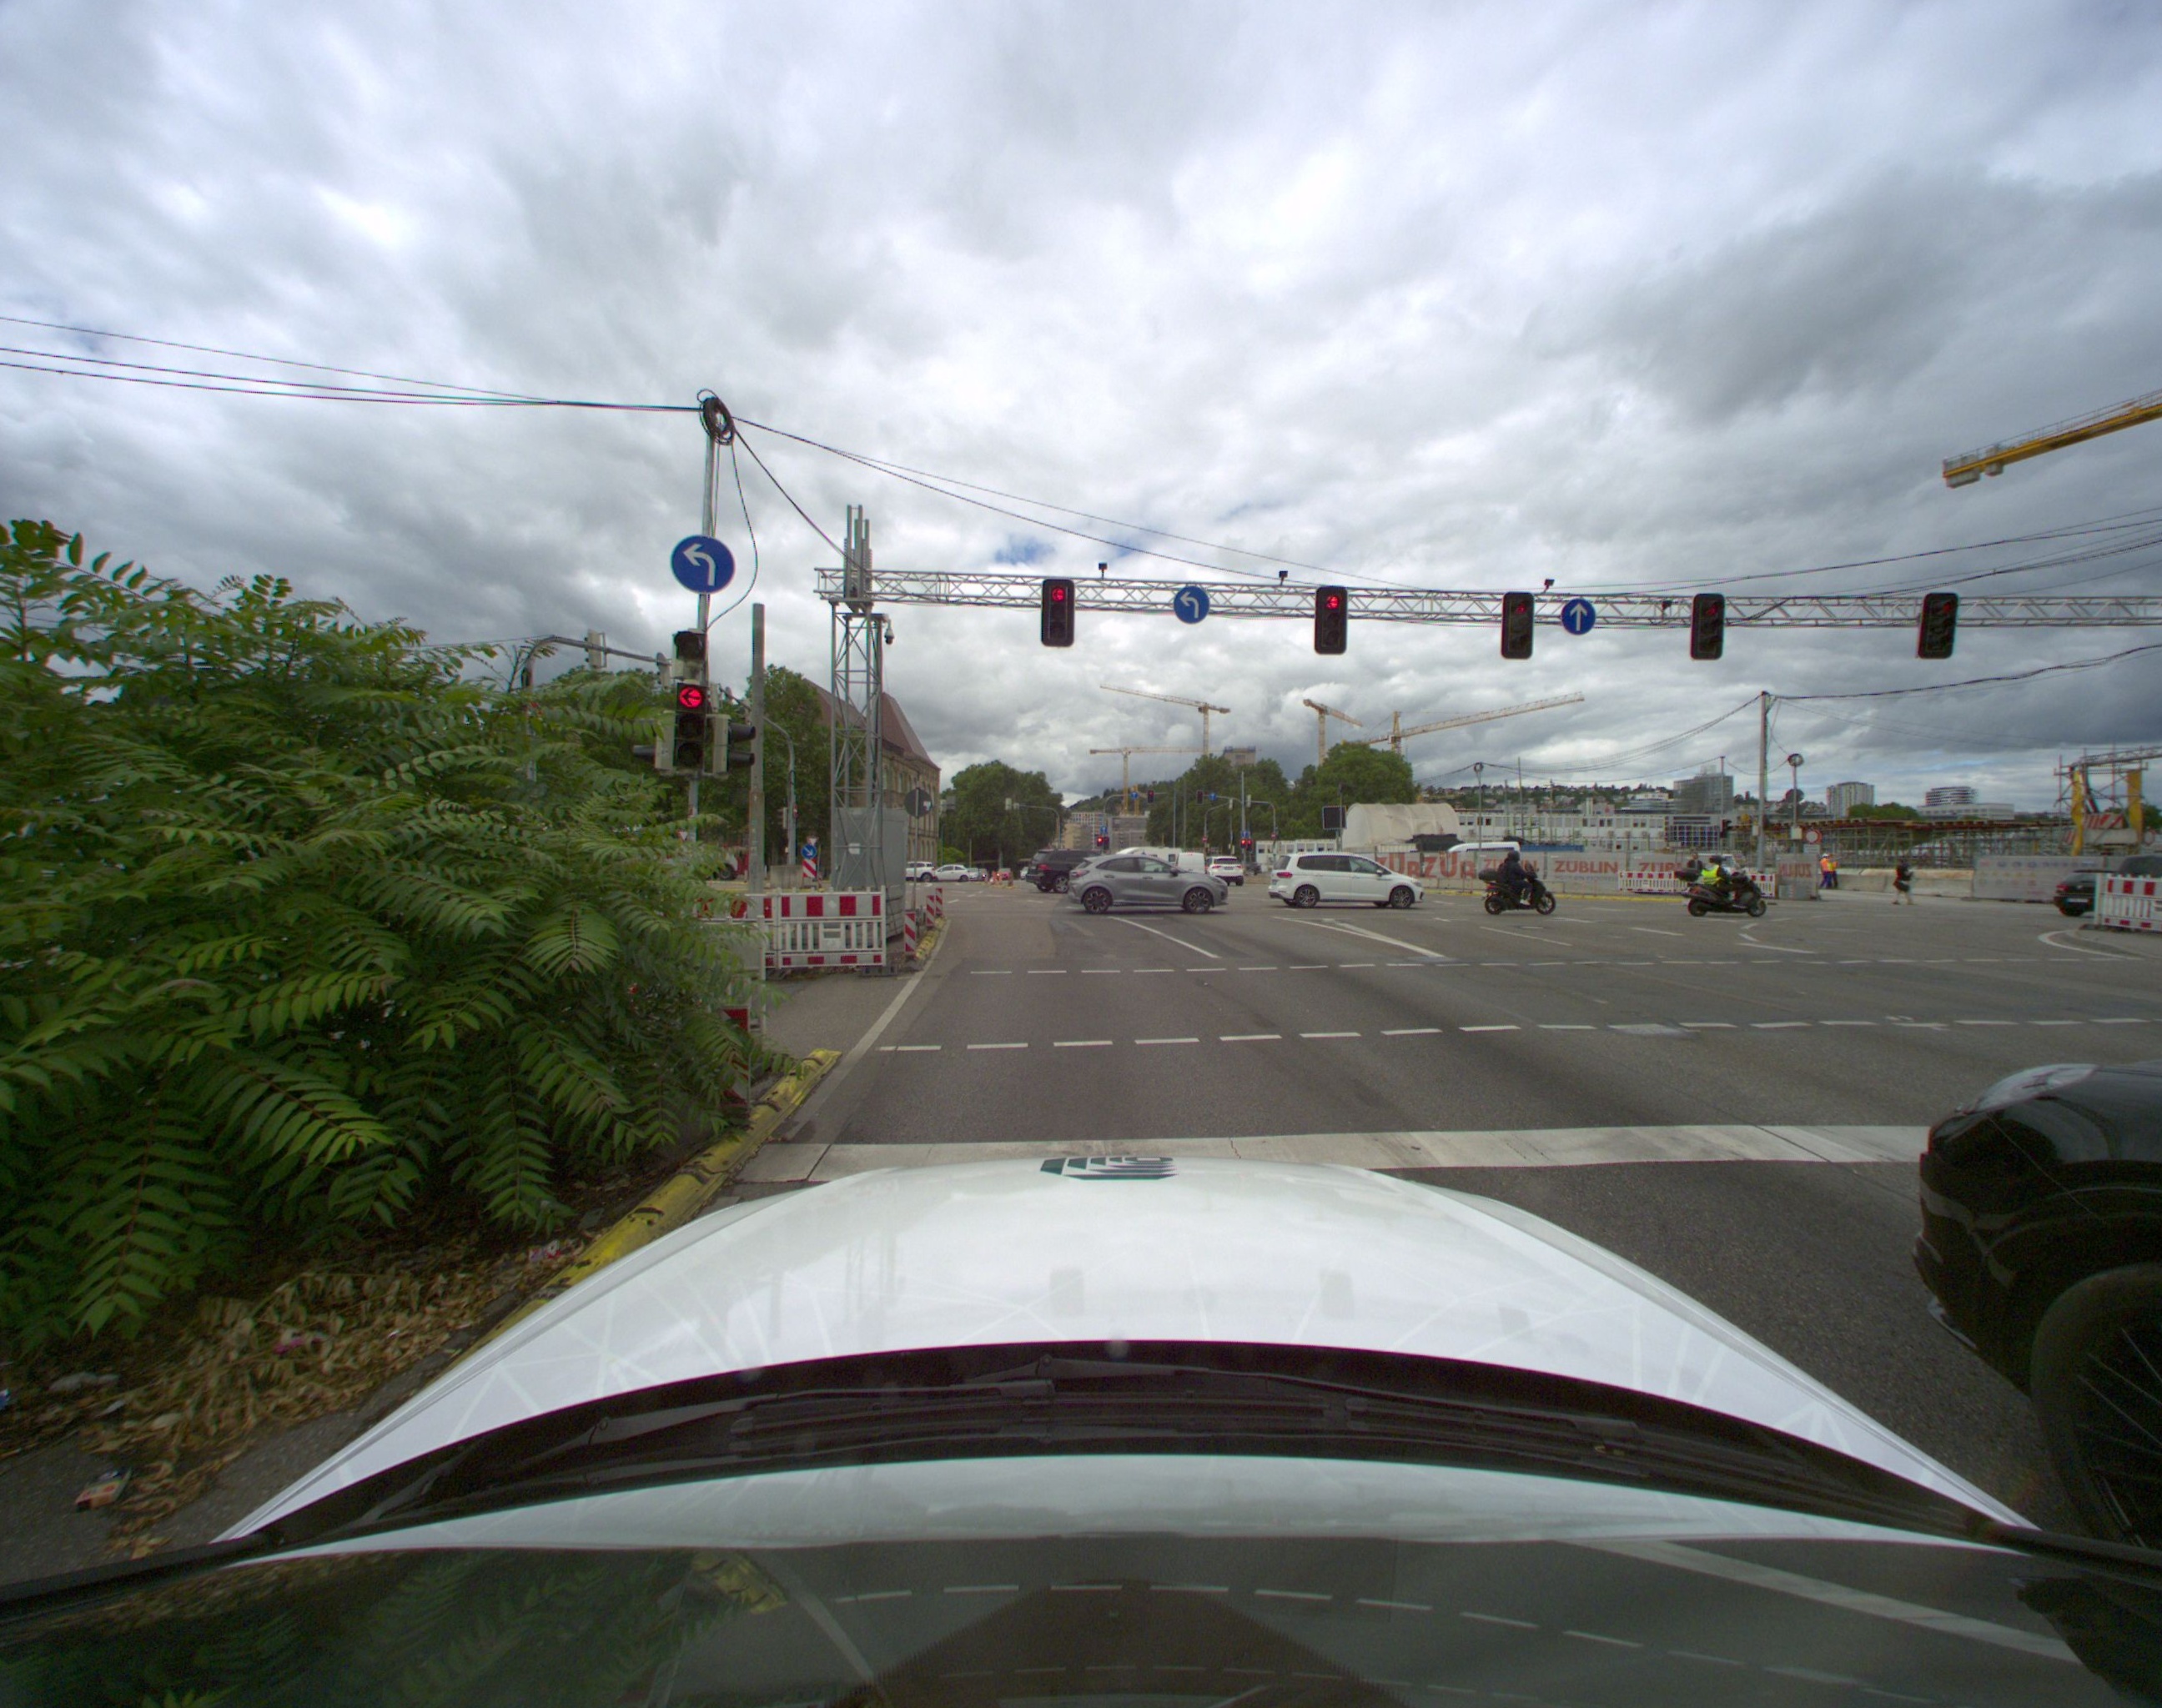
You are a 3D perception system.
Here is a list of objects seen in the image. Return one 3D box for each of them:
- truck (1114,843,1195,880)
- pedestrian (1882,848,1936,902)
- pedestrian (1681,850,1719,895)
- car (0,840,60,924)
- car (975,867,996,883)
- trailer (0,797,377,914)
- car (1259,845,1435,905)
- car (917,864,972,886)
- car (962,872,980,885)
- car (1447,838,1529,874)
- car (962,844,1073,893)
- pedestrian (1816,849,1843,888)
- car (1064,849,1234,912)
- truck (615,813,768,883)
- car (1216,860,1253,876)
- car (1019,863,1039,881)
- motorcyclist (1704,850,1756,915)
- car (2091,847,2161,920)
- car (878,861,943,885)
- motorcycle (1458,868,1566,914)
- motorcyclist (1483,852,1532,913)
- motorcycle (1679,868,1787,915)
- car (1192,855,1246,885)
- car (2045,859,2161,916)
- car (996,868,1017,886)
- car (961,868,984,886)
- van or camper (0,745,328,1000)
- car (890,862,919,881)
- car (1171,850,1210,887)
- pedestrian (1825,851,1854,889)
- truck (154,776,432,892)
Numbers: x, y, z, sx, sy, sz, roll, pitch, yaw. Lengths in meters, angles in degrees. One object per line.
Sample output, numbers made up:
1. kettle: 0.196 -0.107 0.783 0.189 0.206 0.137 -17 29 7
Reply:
1. truck: 6.321 0.636 70.297 6.607 3.146 2.350 0 -1 -22
2. pedestrian: 31.590 0.794 31.096 1.023 2.014 1.051 -1 -1 16
3. pedestrian: 25.684 0.769 33.828 1.035 1.848 0.794 -1 -1 17
4. car: -24.328 0.561 16.787 3.975 1.740 1.909 1 -1 -1
5. car: -11.011 2.425 94.394 1.987 1.838 3.998 0 -1 -1
6. trailer: -22.851 0.037 20.670 7.328 2.725 2.861 0 -1 -2
7. car: 7.921 0.619 24.536 4.656 1.702 1.999 0 -1 -1
8. car: -11.164 1.670 66.604 4.164 1.724 1.895 0 -1 -22
9. car: -16.845 3.780 124.760 1.985 1.838 4.003 0 -1 3
10. car: 23.472 0.114 47.103 3.955 2.014 2.009 -1 -1 17
11. car: -2.573 0.564 32.525 4.246 1.834 1.992 0 -1 -12
12. pedestrian: 38.292 0.740 41.659 0.673 2.014 0.869 -1 -1 14
13. car: 1.717 0.672 21.477 4.281 1.540 1.999 0 -1 -1
14. truck: -28.734 -0.455 60.579 9.725 4.961 3.099 0 -1 -13
15. car: 16.778 1.524 89.060 3.964 1.662 2.005 0 -1 8
16. car: -5.506 1.921 86.644 1.987 1.838 3.998 0 -1 -1
17. motorcyclist: 16.437 0.713 20.630 0.783 1.597 0.652 0 -1 2
18. car: 28.838 0.721 20.530 4.254 1.805 2.000 0 -1 1
19. car: -13.105 1.428 62.521 4.602 1.724 1.895 0 -1 -22
20. motorcycle: 11.311 0.966 21.427 2.413 1.155 0.818 0 -1 2
21. motorcyclist: 11.207 0.746 21.430 0.875 1.571 0.818 0 -1 2
22. motorcycle: 16.482 0.941 20.623 2.159 1.155 0.652 0 -1 2
23. car: 8.269 0.946 49.324 1.992 1.759 4.493 0 -1 -8
24. car: 31.187 0.935 23.525 4.088 1.547 2.003 0 -1 4
25. car: -8.185 2.517 90.092 1.987 1.838 3.998 0 -1 -1
26. car: -11.514 2.403 86.627 1.987 1.838 3.998 0 -1 -1
27. van or camper: -12.229 0.178 11.232 2.170 2.610 6.015 -1 0 -38
28. car: -17.346 1.687 80.039 1.987 1.838 3.998 0 -1 -1
29. car: 5.785 0.763 43.477 1.855 1.833 4.729 0 -1 5
30. pedestrian: 39.178 0.834 42.061 0.677 1.916 0.865 0 -1 -4
31. truck: -19.822 -0.475 20.761 4.193 2.725 2.860 0 -1 -2
